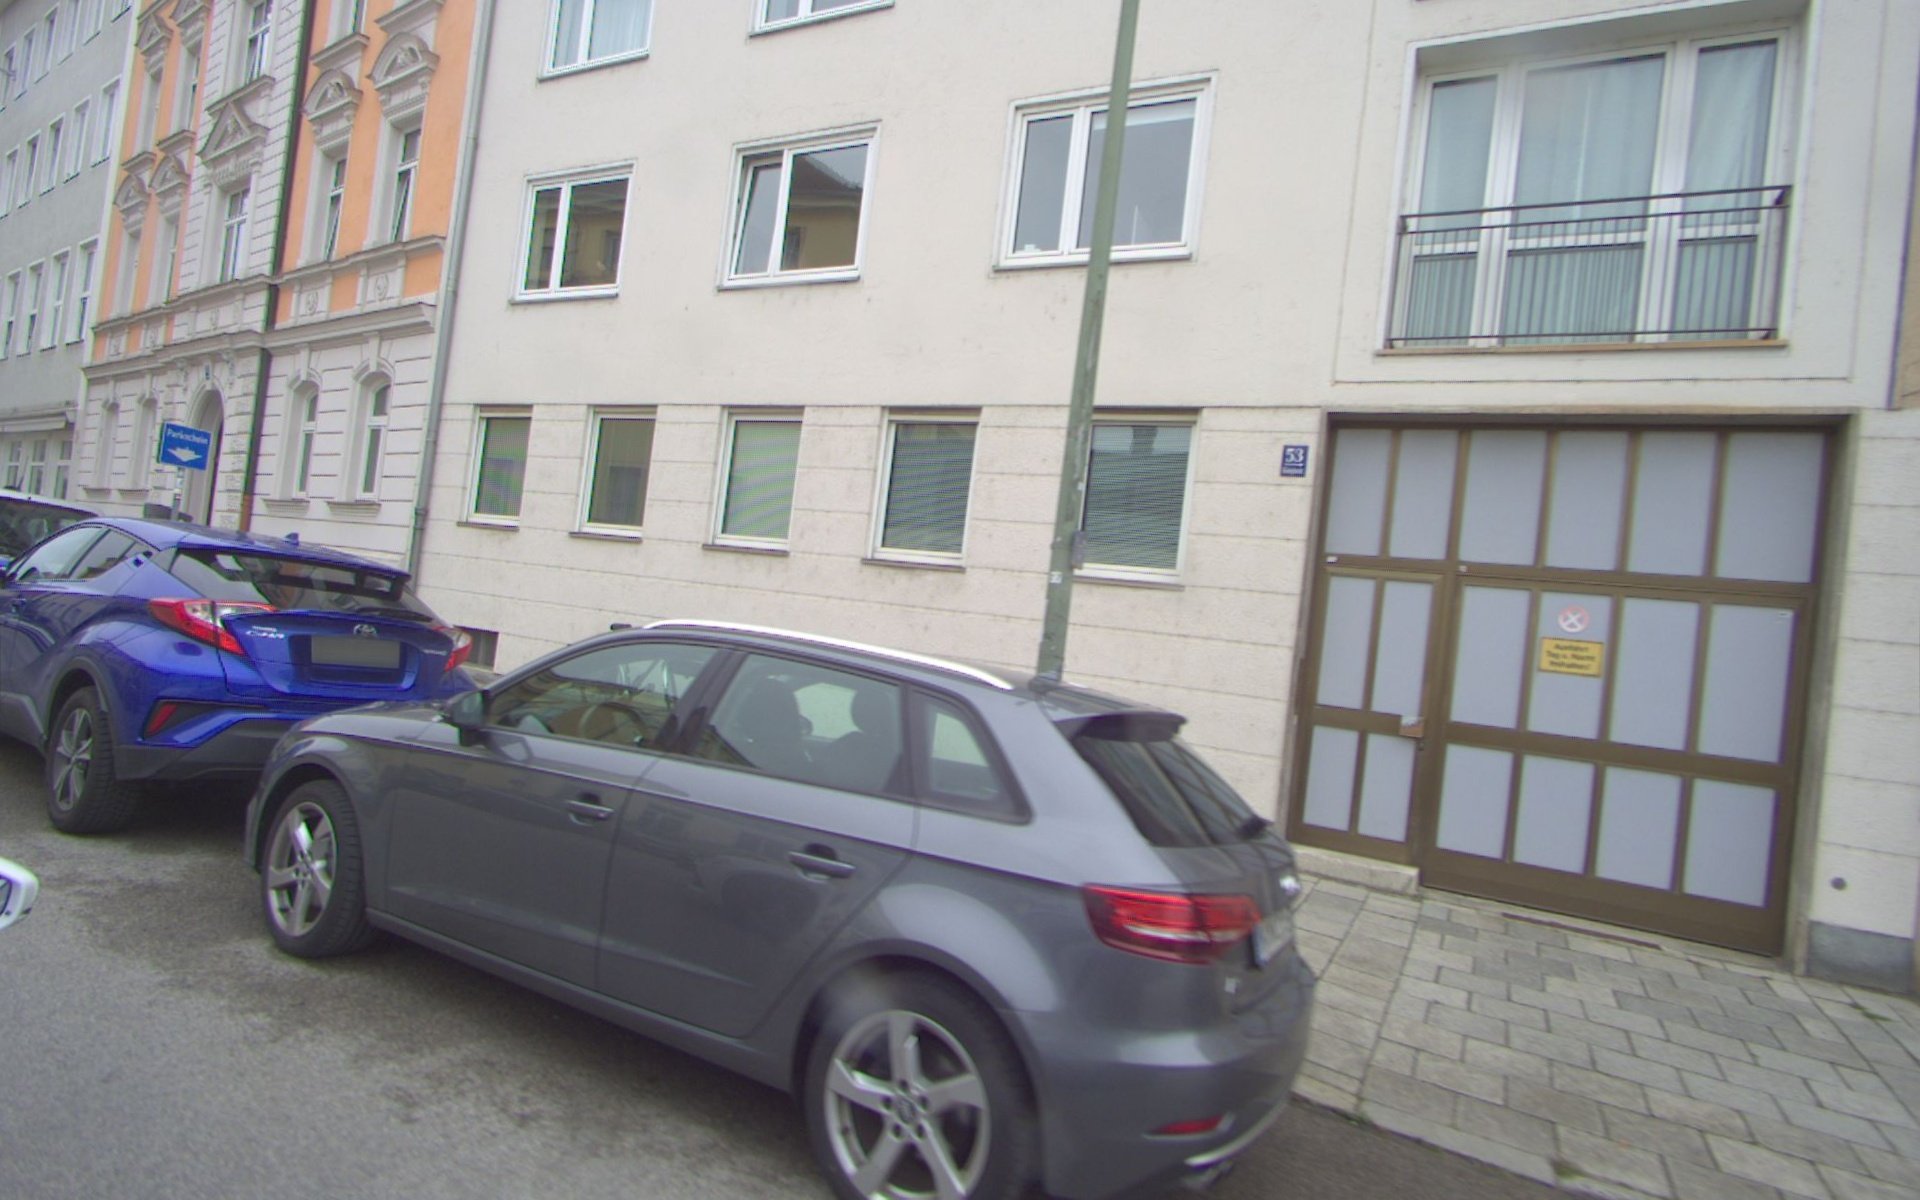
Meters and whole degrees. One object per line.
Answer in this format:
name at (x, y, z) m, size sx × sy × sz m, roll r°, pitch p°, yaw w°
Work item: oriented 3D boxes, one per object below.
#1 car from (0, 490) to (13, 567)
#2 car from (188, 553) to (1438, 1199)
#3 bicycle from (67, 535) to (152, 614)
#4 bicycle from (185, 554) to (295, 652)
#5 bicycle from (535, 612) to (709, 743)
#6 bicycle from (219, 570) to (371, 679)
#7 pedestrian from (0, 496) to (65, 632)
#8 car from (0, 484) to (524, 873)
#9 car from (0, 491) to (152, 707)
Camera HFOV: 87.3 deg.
car at (-13.350, -0.654, 12.018) m, size 4.818 × 1.805 × 1.844 m, roll 6°, pitch -4°, yaw 35°
car at (-0.627, 0.820, 3.658) m, size 4.127 × 1.411 × 1.747 m, roll 6°, pitch -3°, yaw 27°
bicycle at (-15.332, -0.469, 18.118) m, size 2.063 × 1.198 × 0.651 m, roll 7°, pitch 1°, yaw 37°
bicycle at (-10.670, 0.030, 14.880) m, size 2.063 × 1.198 × 0.651 m, roll 7°, pitch 1°, yaw 37°
bicycle at (-3.538, 0.796, 10.513) m, size 1.623 × 1.134 × 0.669 m, roll 6°, pitch -2°, yaw 28°
bicycle at (-8.434, 0.300, 12.743) m, size 1.922 × 1.134 × 0.669 m, roll 6°, pitch -2°, yaw 28°
pedestrian at (-12.349, -0.481, 13.024) m, size 0.637 × 1.681 × 0.862 m, roll 6°, pitch -1°, yaw 34°
car at (-4.757, 0.291, 6.104) m, size 4.133 × 1.604 × 1.745 m, roll 6°, pitch -4°, yaw 34°
car at (-9.080, -0.157, 8.878) m, size 3.569 × 1.659 × 1.609 m, roll 6°, pitch -4°, yaw 29°
